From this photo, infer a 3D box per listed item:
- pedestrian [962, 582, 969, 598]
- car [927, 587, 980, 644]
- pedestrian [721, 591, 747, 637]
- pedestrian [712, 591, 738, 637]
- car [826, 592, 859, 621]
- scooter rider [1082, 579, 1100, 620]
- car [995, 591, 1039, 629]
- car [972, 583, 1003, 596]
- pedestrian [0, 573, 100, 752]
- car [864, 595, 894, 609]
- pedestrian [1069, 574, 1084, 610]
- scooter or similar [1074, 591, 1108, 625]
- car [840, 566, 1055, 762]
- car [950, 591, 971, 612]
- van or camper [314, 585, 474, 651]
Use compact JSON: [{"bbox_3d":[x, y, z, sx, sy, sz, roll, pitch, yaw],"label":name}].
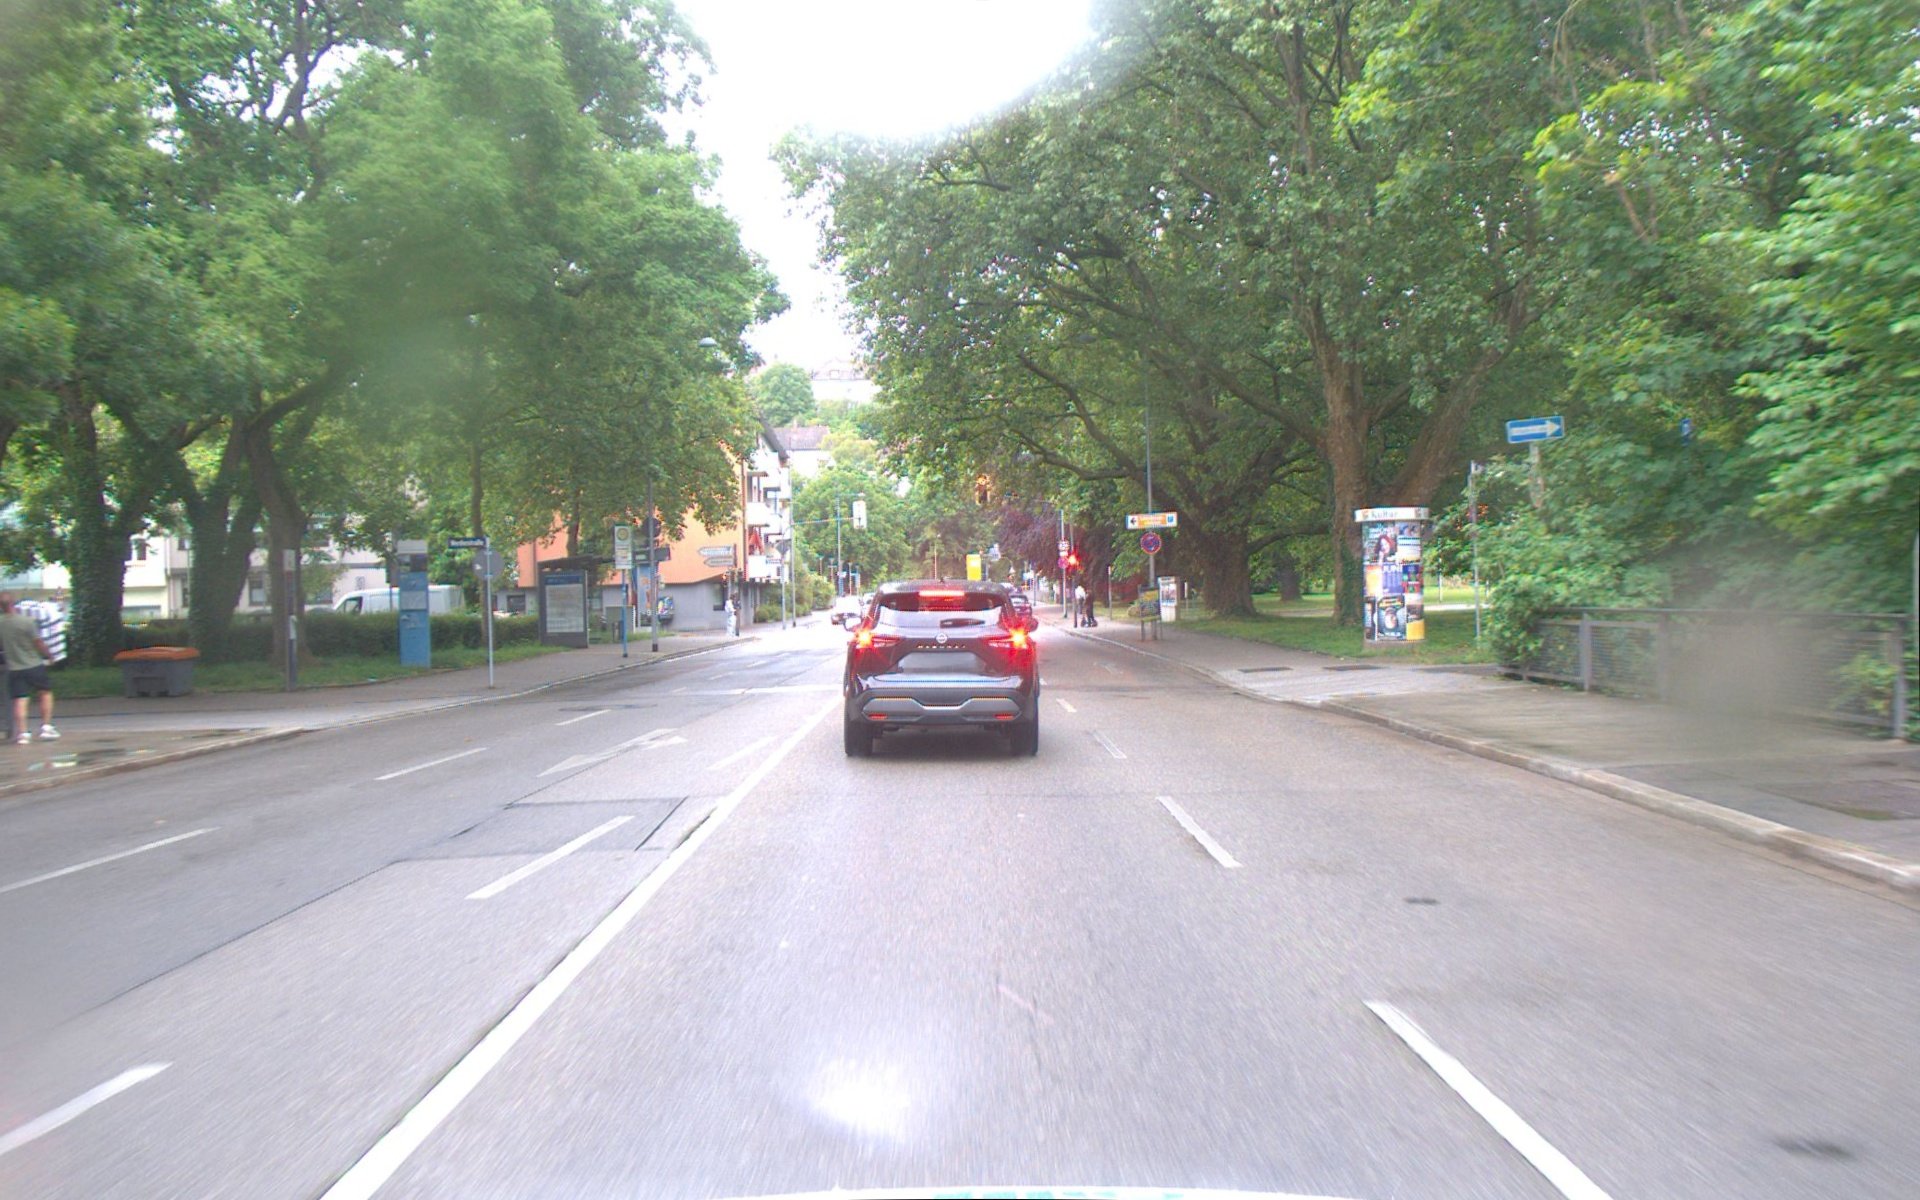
[{"bbox_3d":[0.598,-1.133,184.416,0.498,1.702,0.658,-2,0,27],"label":"pedestrian"},{"bbox_3d":[-0.229,0.499,55.411,1.664,1.776,3.640,-2,0,0],"label":"car"},{"bbox_3d":[-9.578,0.591,70.132,1.017,1.909,0.656,-1,0,-12],"label":"pedestrian"},{"bbox_3d":[-9.849,0.584,69.316,1.017,1.909,0.656,-1,0,-12],"label":"pedestrian"},{"bbox_3d":[-6.697,0.356,94.599,1.760,1.560,3.864,-2,0,-4],"label":"car"},{"bbox_3d":[5.778,-0.018,72.959,0.629,1.797,0.736,-1,-1,12],"label":"scooter rider"},{"bbox_3d":[2.793,0.475,80.522,1.951,1.765,4.002,1,0,4],"label":"car"},{"bbox_3d":[3.658,-1.396,220.260,3.937,1.697,1.699,1,0,-7],"label":"car"},{"bbox_3d":[-10.378,0.687,18.654,0.800,1.958,0.920,-2,0,4],"label":"pedestrian"},{"bbox_3d":[-10.751,0.266,219.153,3.906,1.697,1.701,1,0,-1],"label":"car"},{"bbox_3d":[6.790,-0.463,96.534,0.710,2.049,0.851,-2,0,0],"label":"pedestrian"},{"bbox_3d":[5.771,0.351,72.937,1.364,1.471,0.818,-2,-1,12],"label":"scooter or similar"},{"bbox_3d":[-0.117,0.548,16.445,1.874,1.709,4.000,0,0,0],"label":"car"},{"bbox_3d":[0.017,0.094,133.270,1.601,1.559,3.967,-2,0,0],"label":"car"},{"bbox_3d":[-18.384,0.559,53.893,4.504,1.983,1.999,-2,0,-3],"label":"van or camper"}]
